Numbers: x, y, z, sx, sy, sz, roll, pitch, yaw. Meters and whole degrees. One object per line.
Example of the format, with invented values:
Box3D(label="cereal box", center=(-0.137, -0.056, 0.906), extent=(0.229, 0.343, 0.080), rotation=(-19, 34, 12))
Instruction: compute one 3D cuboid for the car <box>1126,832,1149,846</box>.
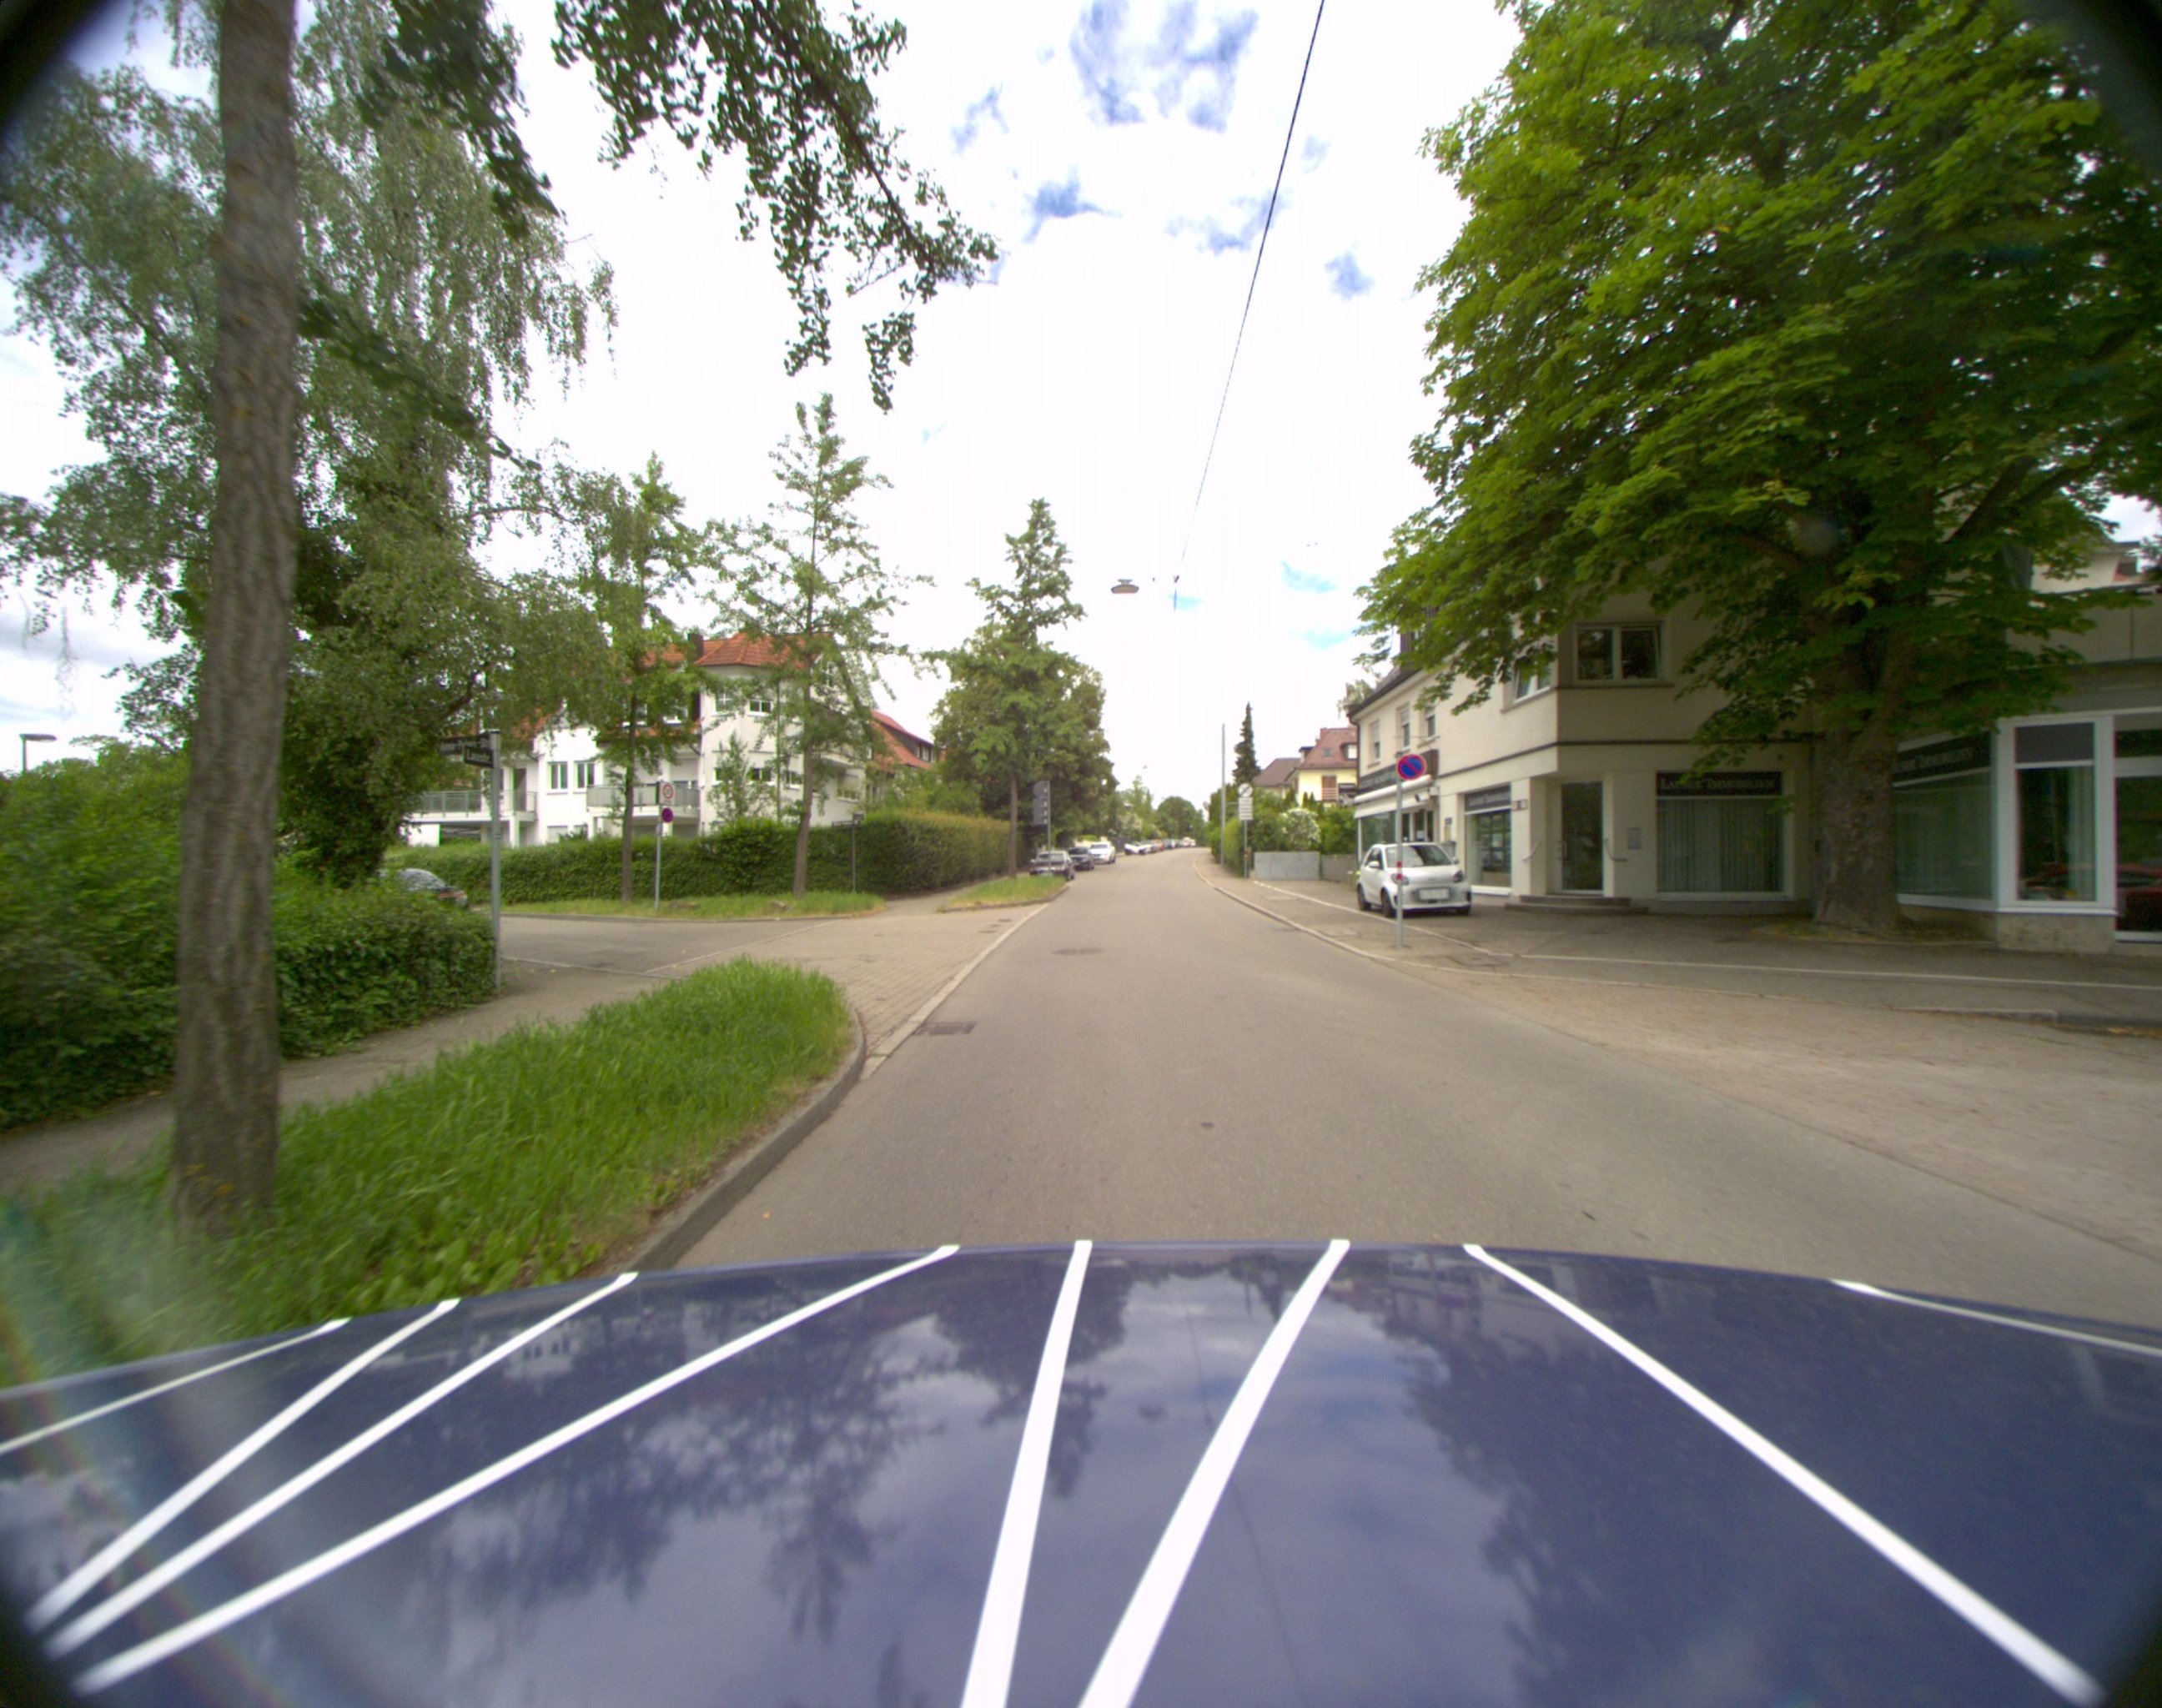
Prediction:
Box3D(label="car", center=(6.158, -1.673, 83.002), extent=(2.290, 1.515, 1.319), rotation=(0, 2, 16))

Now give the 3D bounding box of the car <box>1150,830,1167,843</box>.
Box3D(label="car", center=(10.622, -2.429, 103.703), extent=(1.853, 1.617, 4.171), rotation=(-2, 2, 11))

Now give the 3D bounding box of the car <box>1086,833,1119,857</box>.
Box3D(label="car", center=(1.643, -0.705, 57.029), extent=(1.869, 1.676, 4.352), rotation=(-1, 2, 9))

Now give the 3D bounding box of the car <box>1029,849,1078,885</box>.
Box3D(label="car", center=(-1.212, 0.541, 35.051), extent=(1.713, 1.405, 3.791), rotation=(-3, 2, 6))

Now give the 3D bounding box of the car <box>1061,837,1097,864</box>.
Box3D(label="car", center=(-0.070, -0.245, 46.022), extent=(1.713, 1.479, 3.791), rotation=(-1, 2, 7))

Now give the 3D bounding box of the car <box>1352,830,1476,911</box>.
Box3D(label="car", center=(7.122, 0.304, 16.539), extent=(1.592, 1.529, 2.924), rotation=(-3, 1, 5))

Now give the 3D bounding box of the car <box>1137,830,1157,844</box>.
Box3D(label="car", center=(7.974, -2.061, 91.053), extent=(1.832, 1.614, 4.494), rotation=(-1, 2, 12))

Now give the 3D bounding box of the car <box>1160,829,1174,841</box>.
Box3D(label="car", center=(13.220, -2.955, 116.811), extent=(1.953, 1.617, 4.378), rotation=(-2, 2, 10))

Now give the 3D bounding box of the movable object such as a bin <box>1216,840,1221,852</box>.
Box3D(label="movable object such as a bin", center=(10.177, -0.572, 56.390), extent=(0.337, 0.888, 0.476), rotation=(-2, 2, 12))
